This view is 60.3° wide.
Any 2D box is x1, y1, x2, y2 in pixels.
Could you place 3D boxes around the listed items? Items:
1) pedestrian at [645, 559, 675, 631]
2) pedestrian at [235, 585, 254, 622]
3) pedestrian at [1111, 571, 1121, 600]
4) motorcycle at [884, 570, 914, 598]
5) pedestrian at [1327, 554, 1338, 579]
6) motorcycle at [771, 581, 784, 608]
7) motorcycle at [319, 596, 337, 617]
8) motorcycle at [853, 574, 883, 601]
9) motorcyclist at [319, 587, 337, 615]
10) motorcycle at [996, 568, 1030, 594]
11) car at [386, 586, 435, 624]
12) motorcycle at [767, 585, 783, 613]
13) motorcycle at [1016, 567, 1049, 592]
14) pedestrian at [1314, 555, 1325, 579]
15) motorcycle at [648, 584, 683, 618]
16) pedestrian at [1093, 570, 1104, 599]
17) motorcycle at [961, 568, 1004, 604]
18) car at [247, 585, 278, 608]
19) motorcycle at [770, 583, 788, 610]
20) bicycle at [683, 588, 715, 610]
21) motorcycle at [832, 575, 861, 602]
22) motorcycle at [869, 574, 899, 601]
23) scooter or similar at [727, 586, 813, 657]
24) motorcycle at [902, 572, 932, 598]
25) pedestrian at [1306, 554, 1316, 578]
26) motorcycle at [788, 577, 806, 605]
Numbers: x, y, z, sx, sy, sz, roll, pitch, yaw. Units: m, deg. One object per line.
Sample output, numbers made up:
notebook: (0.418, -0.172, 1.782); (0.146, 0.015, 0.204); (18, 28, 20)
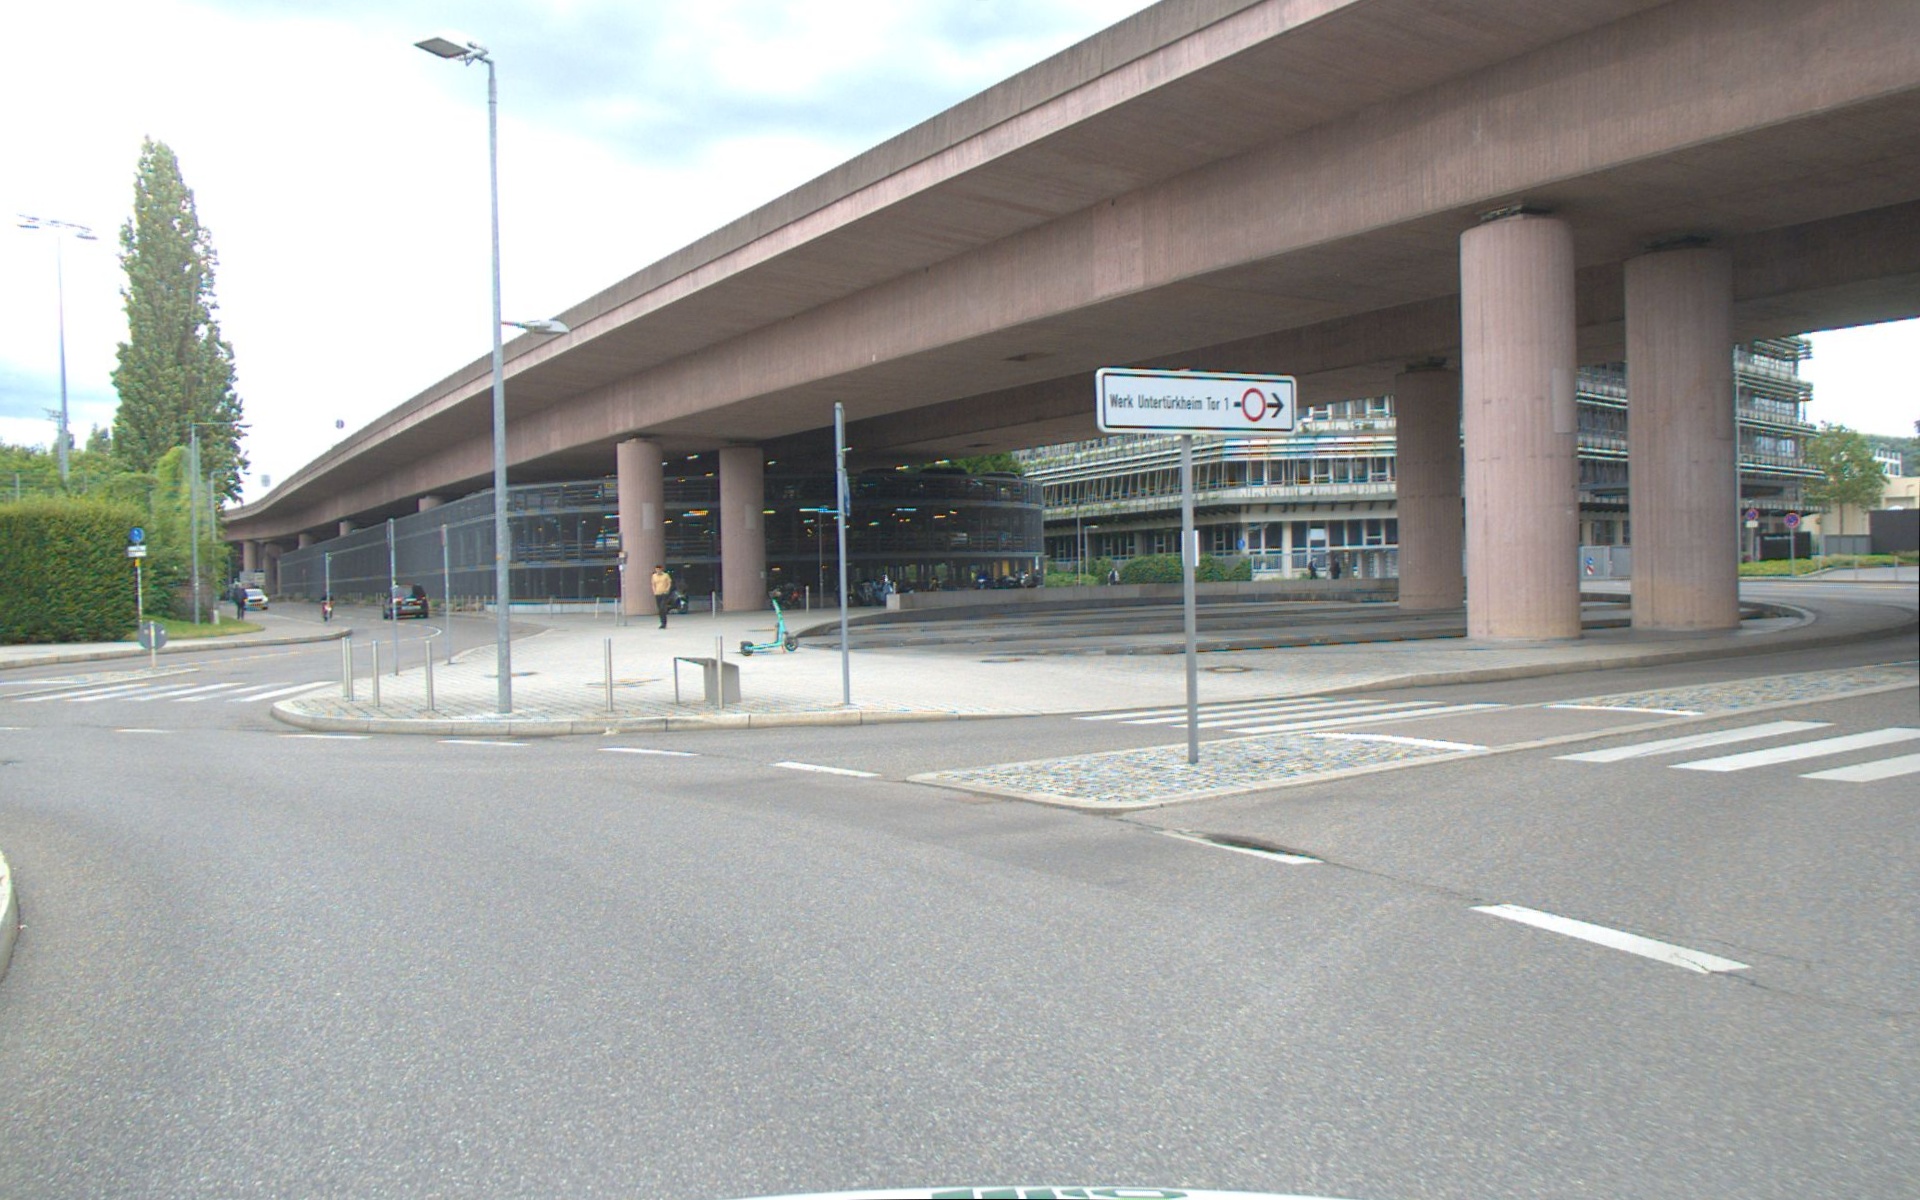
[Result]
pedestrian: (-8.676, -0.160, 47.837); (0.768, 2.048, 1.037); (-2, 2, -11)
pedestrian: (-36.651, 0.181, 84.720); (0.793, 1.811, 0.913); (-2, 2, -24)
pedestrian: (11.056, -1.058, 117.205); (0.519, 2.049, 0.570); (-1, 0, -20)
motorcycle: (-2.976, -0.790, 80.479); (0.664, 1.308, 2.061); (-2, 2, -26)
pedestrian: (22.947, -2.044, 101.808); (0.486, 1.507, 0.544); (0, 2, 31)
motorcycle: (-8.624, -0.254, 78.023); (0.511, 1.241, 1.148); (-2, 2, -9)
motorcycle: (-33.600, 0.343, 87.946); (0.737, 1.040, 1.940); (-2, 2, -26)
motorcycle: (-4.448, -0.602, 79.678); (0.664, 1.241, 2.061); (-2, 2, -26)
motorcyclist: (-33.576, 0.068, 87.872); (0.752, 1.444, 0.862); (-2, 2, -26)
motorcycle: (2.705, -0.982, 84.789); (0.664, 1.297, 2.344); (-2, 2, -26)
car: (-28.097, 0.235, 84.482); (1.818, 1.741, 3.673); (-2, 2, -27)
motorcycle: (-8.635, -0.058, 77.087); (0.509, 1.241, 1.151); (-1, 2, 3)
motorcycle: (3.762, -1.054, 85.909); (0.664, 1.241, 2.344); (-2, 2, -26)
pedestrian: (22.177, -2.030, 101.968); (0.486, 1.507, 0.544); (0, 2, 31)
motorcycle: (-13.068, 0.039, 73.419); (0.639, 1.480, 1.735); (-3, 3, -43)
pedestrian: (9.859, -1.075, 117.599); (0.519, 2.049, 0.570); (-1, 0, -19)
motorcycle: (0.868, -0.530, 63.231); (0.538, 1.286, 1.931); (0, 3, 41)
car: (-56.637, -0.299, 134.230); (1.844, 1.712, 4.363); (-3, 2, -29)
motorcycle: (-8.156, -0.161, 74.514); (0.509, 1.191, 1.151); (-1, -1, 9)
bicycle: (-12.552, -0.058, 79.484); (1.442, 0.993, 0.452); (-2, 2, -2)
motorcycle: (-5.456, -0.540, 79.462); (0.664, 1.241, 2.061); (-2, 2, -26)
motorcycle: (-3.700, -0.624, 80.105); (0.664, 1.241, 2.061); (-2, 2, -26)
scooter or similar: (-3.773, 0.422, 32.860); (1.615, 1.318, 0.517); (-2, 2, -13)
motorcycle: (-2.107, -0.740, 80.947); (0.664, 1.241, 2.061); (-2, 2, -26)
pedestrian: (22.172, -2.136, 104.505); (0.486, 1.507, 0.544); (0, 2, 31)
motorcycle: (-7.687, -0.431, 78.138); (0.813, 1.241, 2.077); (-2, 2, -5)
